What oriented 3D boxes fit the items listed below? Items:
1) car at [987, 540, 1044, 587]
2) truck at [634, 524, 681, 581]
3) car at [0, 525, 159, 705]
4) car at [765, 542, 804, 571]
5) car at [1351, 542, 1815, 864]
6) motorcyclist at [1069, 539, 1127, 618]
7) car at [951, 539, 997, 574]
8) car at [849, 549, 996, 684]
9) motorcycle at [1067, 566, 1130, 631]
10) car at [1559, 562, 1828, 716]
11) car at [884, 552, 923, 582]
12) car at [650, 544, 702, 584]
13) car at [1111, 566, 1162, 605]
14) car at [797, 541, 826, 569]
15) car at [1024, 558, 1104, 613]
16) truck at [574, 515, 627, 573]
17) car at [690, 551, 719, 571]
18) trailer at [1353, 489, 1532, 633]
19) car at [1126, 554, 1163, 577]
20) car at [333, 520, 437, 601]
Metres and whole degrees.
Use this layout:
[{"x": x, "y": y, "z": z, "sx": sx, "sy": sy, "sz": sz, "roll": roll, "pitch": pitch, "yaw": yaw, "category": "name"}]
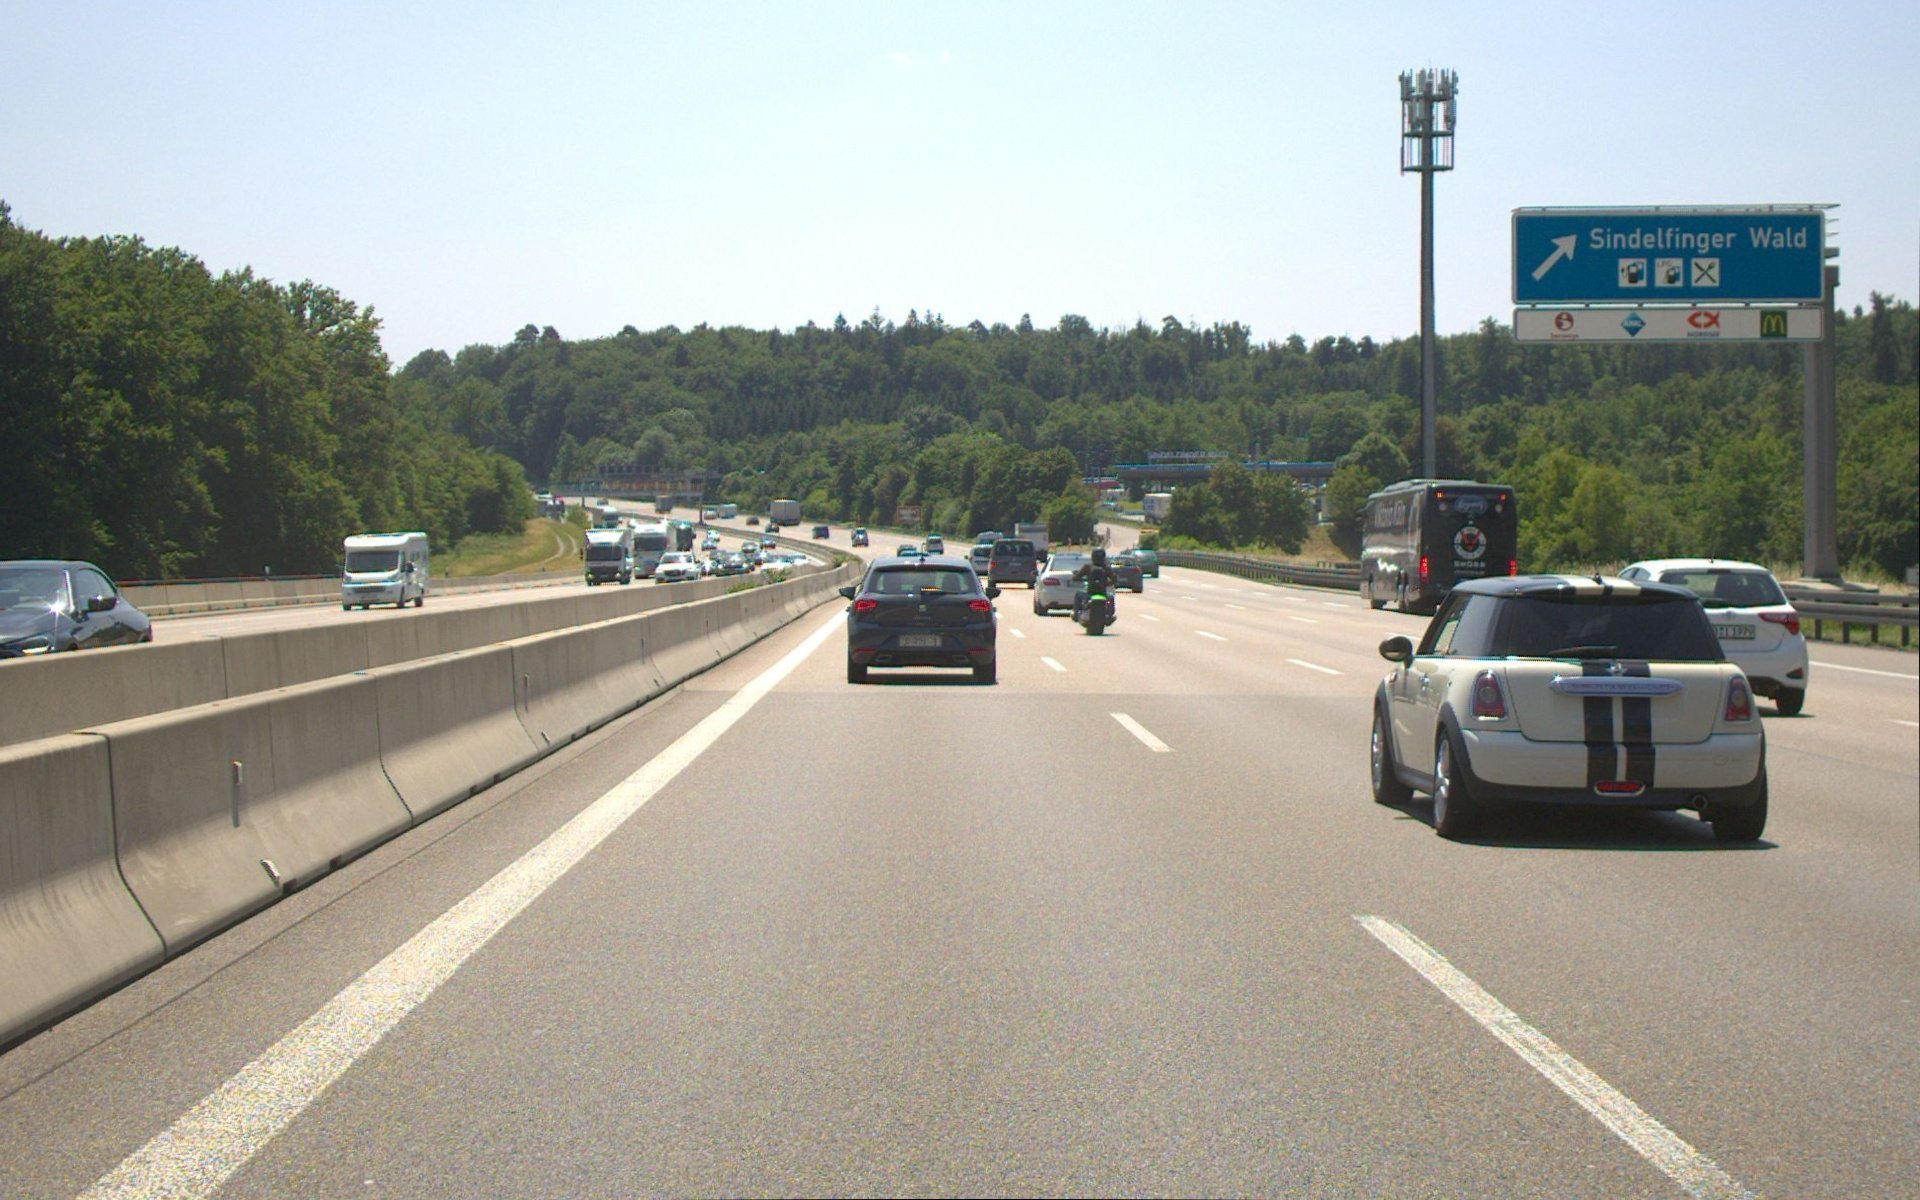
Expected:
[{"x": 2.191, "y": -1.467, "z": 137.499, "sx": 2.097, "sy": 1.845, "sz": 4.081, "roll": 0, "pitch": 1, "yaw": -1, "category": "car"}, {"x": -22.279, "y": -3.521, "z": 253.477, "sx": 2.715, "sy": 4.085, "sz": 7.877, "roll": -2, "pitch": 1, "yaw": -1, "category": "truck"}, {"x": -8.363, "y": 0.086, "z": 29.776, "sx": 1.838, "sy": 1.436, "sz": 4.845, "roll": 0, "pitch": 1, "yaw": -2, "category": "car"}, {"x": -9.502, "y": -2.376, "z": 186.336, "sx": 1.848, "sy": 1.518, "sz": 5.319, "roll": -2, "pitch": 1, "yaw": -1, "category": "car"}, {"x": 3.387, "y": 0.489, "z": 19.446, "sx": 1.841, "sy": 1.546, "sz": 4.000, "roll": 2, "pitch": 1, "yaw": 0, "category": "car"}, {"x": 2.569, "y": -0.404, "z": 64.204, "sx": 0.962, "sy": 1.432, "sz": 1.235, "roll": -2, "pitch": 1, "yaw": -1, "category": "motorcyclist"}, {"x": 0.738, "y": -2.301, "z": 180.912, "sx": 1.993, "sy": 1.678, "sz": 4.425, "roll": 1, "pitch": 2, "yaw": -5, "category": "car"}, {"x": -0.428, "y": 0.154, "z": 40.110, "sx": 1.624, "sy": 1.482, "sz": 3.685, "roll": 1, "pitch": 1, "yaw": 0, "category": "car"}, {"x": 2.575, "y": -0.017, "z": 64.303, "sx": 0.977, "sy": 1.125, "sz": 2.271, "roll": 3, "pitch": -1, "yaw": -1, "category": "motorcycle"}, {"x": 7.287, "y": 0.341, "z": 34.546, "sx": 1.666, "sy": 1.428, "sz": 4.376, "roll": 0, "pitch": 1, "yaw": -1, "category": "car"}, {"x": -2.402, "y": -1.405, "z": 145.679, "sx": 1.536, "sy": 1.208, "sz": 3.460, "roll": -1, "pitch": 1, "yaw": -3, "category": "car"}, {"x": -13.189, "y": -1.680, "z": 159.815, "sx": 1.993, "sy": 1.781, "sz": 5.319, "roll": -2, "pitch": 1, "yaw": -1, "category": "car"}, {"x": 6.696, "y": -0.549, "z": 130.523, "sx": 1.675, "sy": 1.427, "sz": 3.685, "roll": 0, "pitch": 1, "yaw": -1, "category": "car"}, {"x": -10.605, "y": -3.213, "z": 245.779, "sx": 1.774, "sy": 1.873, "sz": 5.210, "roll": 1, "pitch": 2, "yaw": 1, "category": "car"}, {"x": 2.492, "y": -0.361, "z": 83.181, "sx": 1.782, "sy": 1.261, "sz": 3.460, "roll": -1, "pitch": 1, "yaw": -1, "category": "car"}, {"x": -22.316, "y": -3.490, "z": 213.754, "sx": 2.539, "sy": 3.559, "sz": 8.578, "roll": 0, "pitch": 1, "yaw": -1, "category": "truck"}, {"x": -18.773, "y": -2.869, "z": 252.682, "sx": 1.798, "sy": 1.371, "sz": 4.532, "roll": -3, "pitch": 0, "yaw": -1, "category": "car"}, {"x": 13.235, "y": -1.075, "z": 95.592, "sx": 2.857, "sy": 3.675, "sz": 13.543, "roll": -1, "pitch": 0, "yaw": -1, "category": "trailer"}, {"x": 9.675, "y": -1.805, "z": 179.979, "sx": 1.608, "sy": 1.208, "sz": 3.460, "roll": -1, "pitch": 1, "yaw": -2, "category": "car"}, {"x": -19.961, "y": -1.397, "z": 119.710, "sx": 2.221, "sy": 2.650, "sz": 8.176, "roll": -2, "pitch": 1, "yaw": -1, "category": "car"}]
